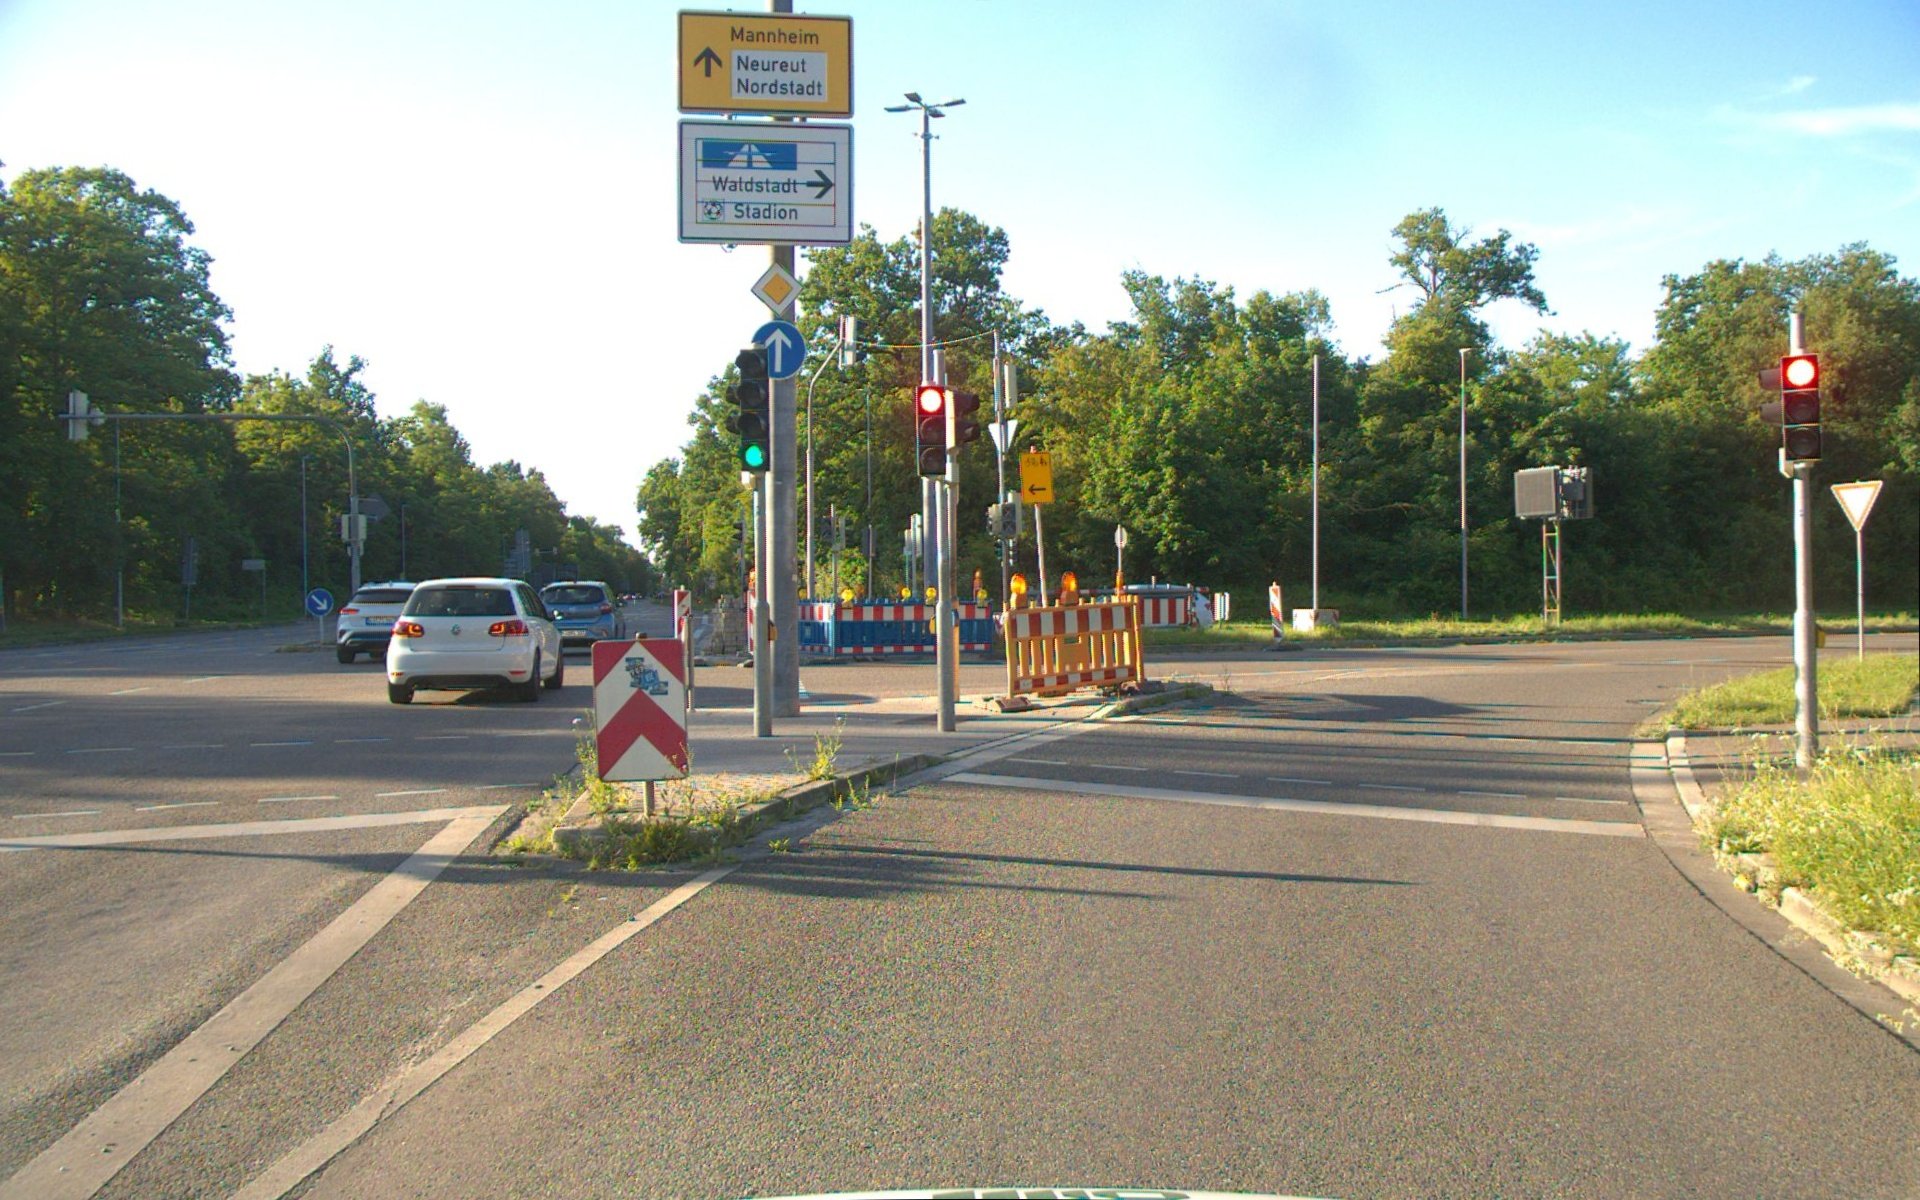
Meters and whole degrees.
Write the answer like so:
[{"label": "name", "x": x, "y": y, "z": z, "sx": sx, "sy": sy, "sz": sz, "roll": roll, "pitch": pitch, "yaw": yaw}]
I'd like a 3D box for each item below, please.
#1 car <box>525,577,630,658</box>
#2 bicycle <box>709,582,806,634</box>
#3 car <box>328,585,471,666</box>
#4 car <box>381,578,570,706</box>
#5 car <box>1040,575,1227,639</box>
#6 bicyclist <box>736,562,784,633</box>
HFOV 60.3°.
[{"label": "car", "x": -7.904, "y": 0.327, "z": 34.504, "sx": 1.958, "sy": 1.563, "sz": 3.989, "roll": -1, "pitch": 0, "yaw": -11}, {"label": "bicycle", "x": -5.661, "y": 0.210, "z": 46.410, "sx": 2.614, "sy": 1.407, "sz": 0.955, "roll": 0, "pitch": 0, "yaw": -40}, {"label": "car", "x": -10.785, "y": 0.446, "z": 32.090, "sx": 1.828, "sy": 1.469, "sz": 3.994, "roll": 0, "pitch": 0, "yaw": -7}, {"label": "car", "x": -6.023, "y": 0.466, "z": 20.973, "sx": 1.905, "sy": 1.439, "sz": 3.989, "roll": -1, "pitch": 0, "yaw": -11}, {"label": "car", "x": 4.692, "y": 0.172, "z": 44.532, "sx": 4.764, "sy": 1.608, "sz": 1.981, "roll": -1, "pitch": 0, "yaw": -29}, {"label": "bicyclist", "x": -5.622, "y": -0.073, "z": 46.450, "sx": 1.006, "sy": 1.963, "sz": 0.955, "roll": 0, "pitch": 0, "yaw": -39}]
